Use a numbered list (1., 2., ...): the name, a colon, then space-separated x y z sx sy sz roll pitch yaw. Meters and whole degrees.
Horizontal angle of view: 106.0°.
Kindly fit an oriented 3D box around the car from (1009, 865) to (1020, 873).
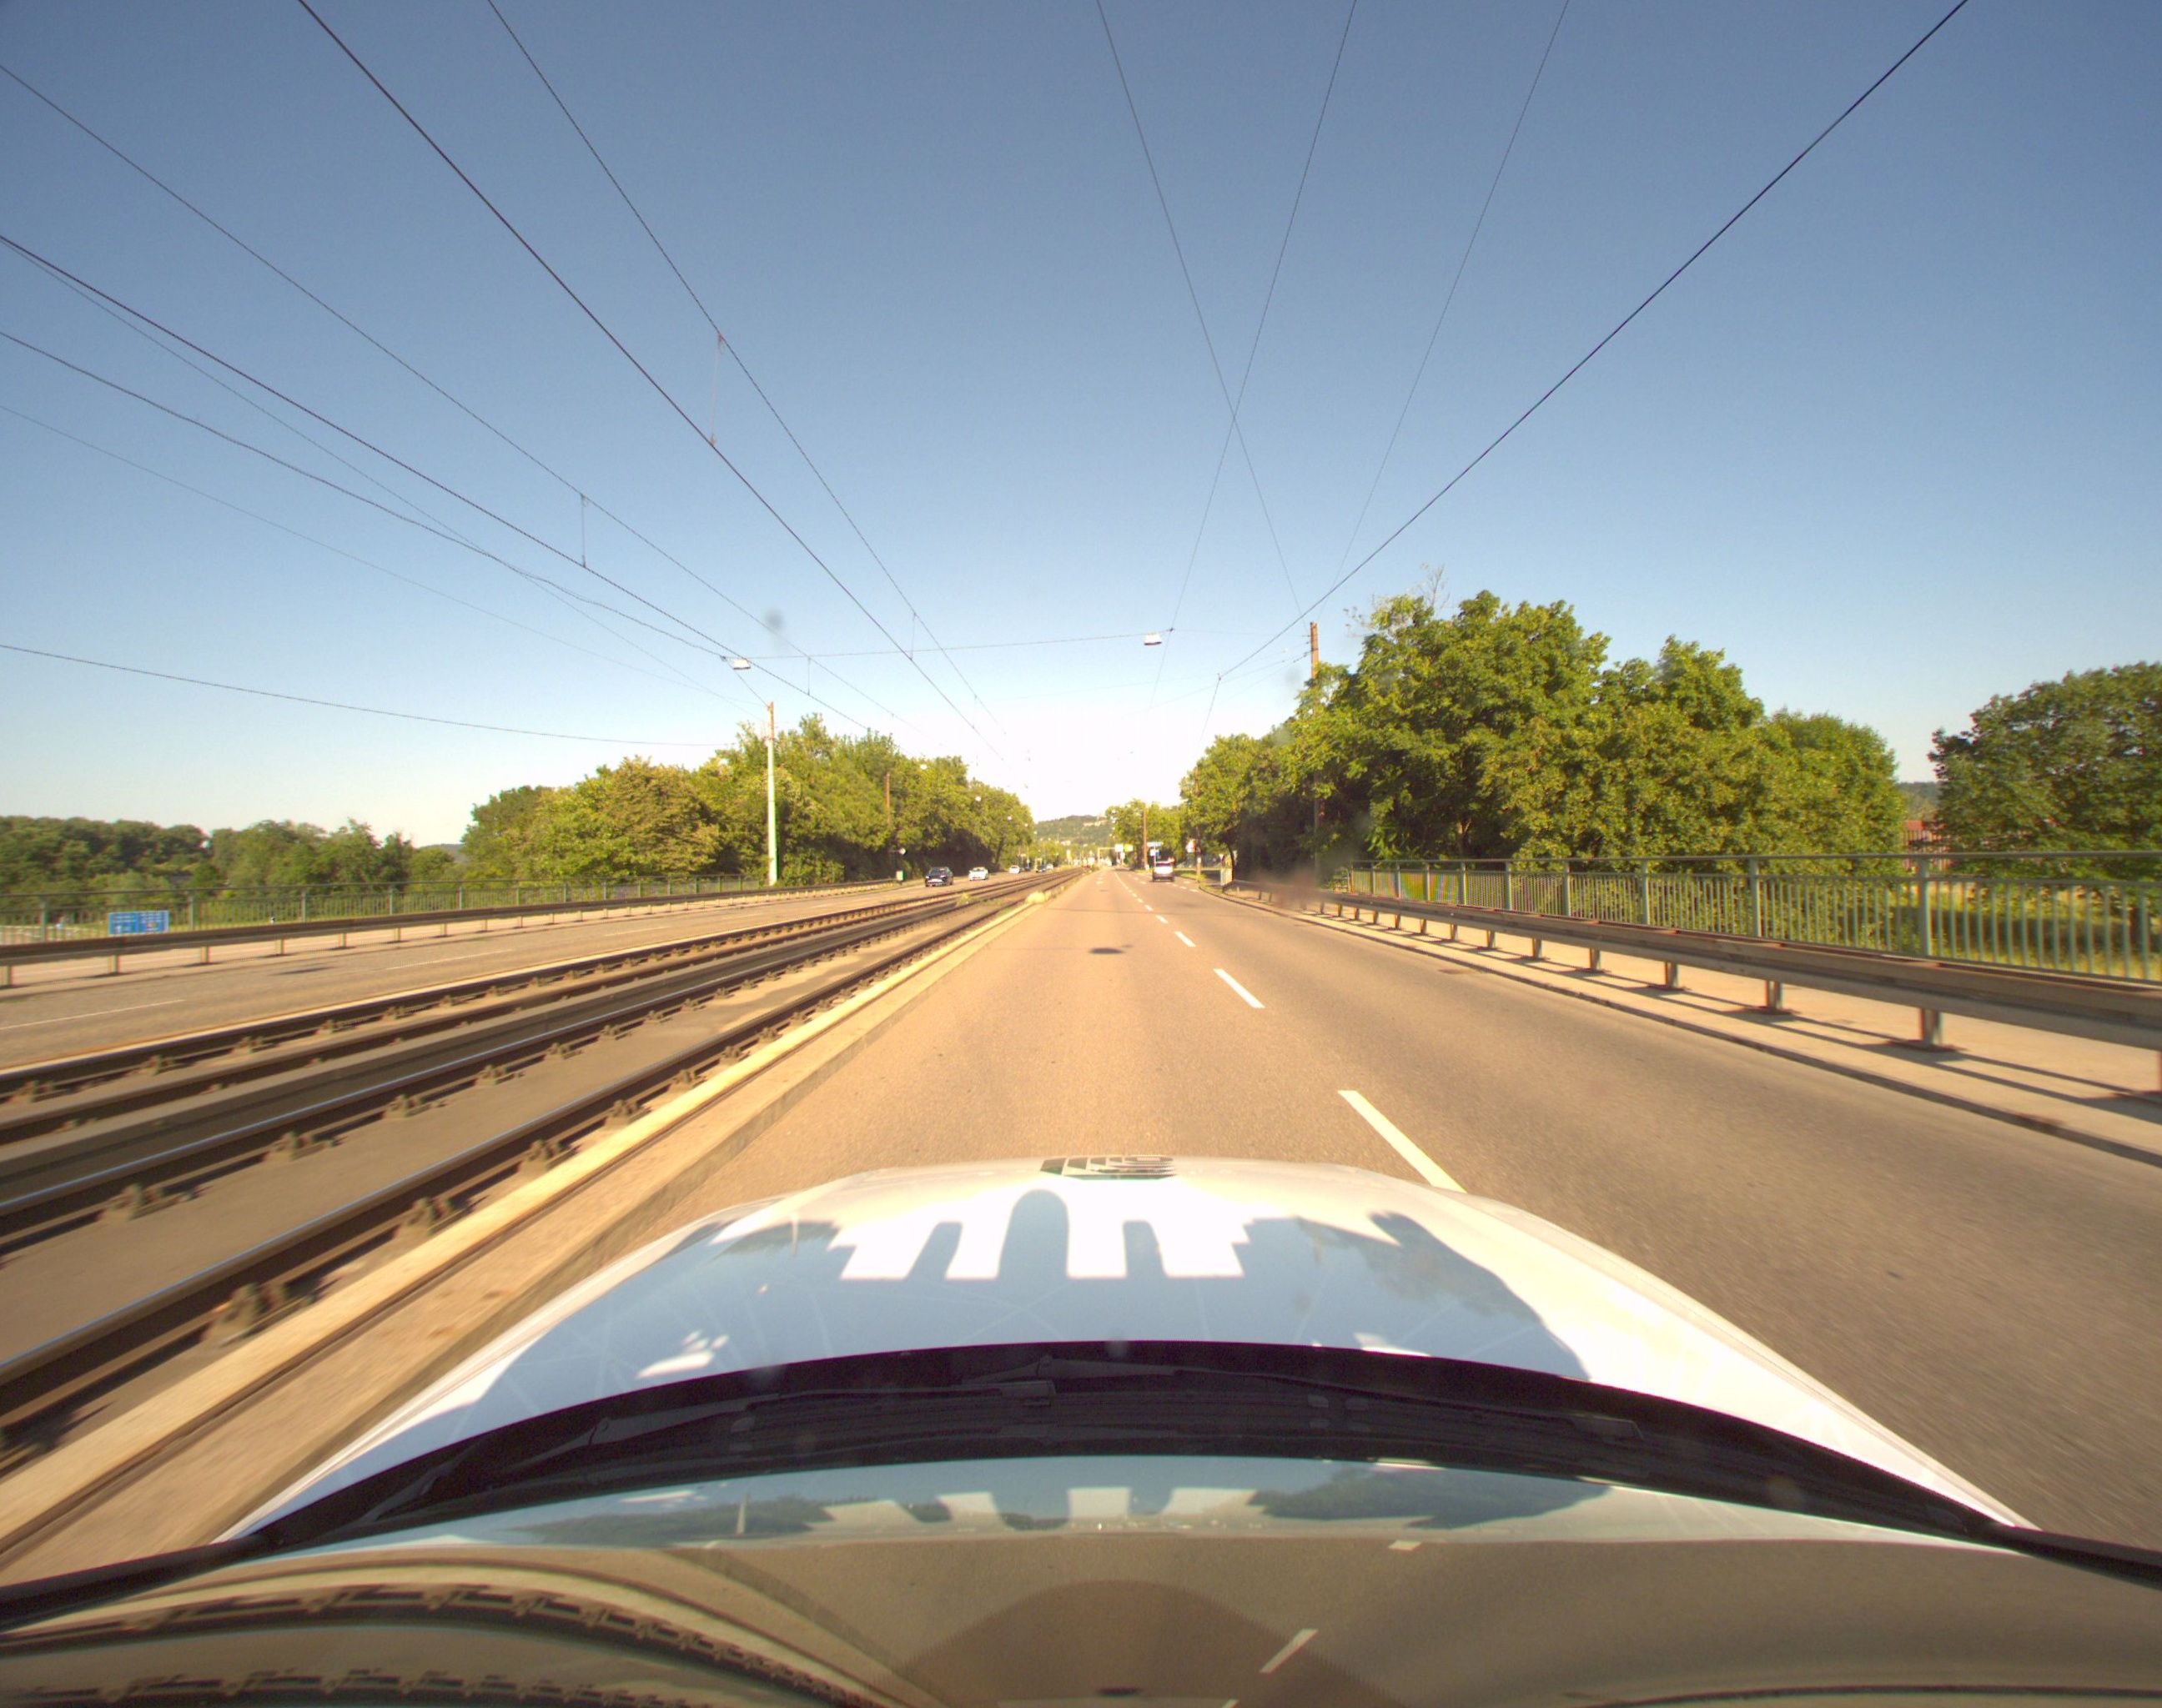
1. car: -13.266 3.069 163.244 1.685 1.556 4.193 -3 -1 2

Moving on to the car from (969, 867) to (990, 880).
1. car: -11.650 2.262 93.941 1.749 1.414 4.877 -3 -1 0

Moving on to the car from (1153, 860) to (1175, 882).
1. car: 6.951 1.376 67.980 1.800 1.773 3.868 0 -1 6

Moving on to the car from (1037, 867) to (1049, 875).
1. car: -7.132 3.244 152.821 1.651 1.433 4.504 -3 -1 2

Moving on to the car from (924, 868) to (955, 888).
1. car: -12.052 1.994 69.560 1.703 1.580 4.801 -2 -1 1
